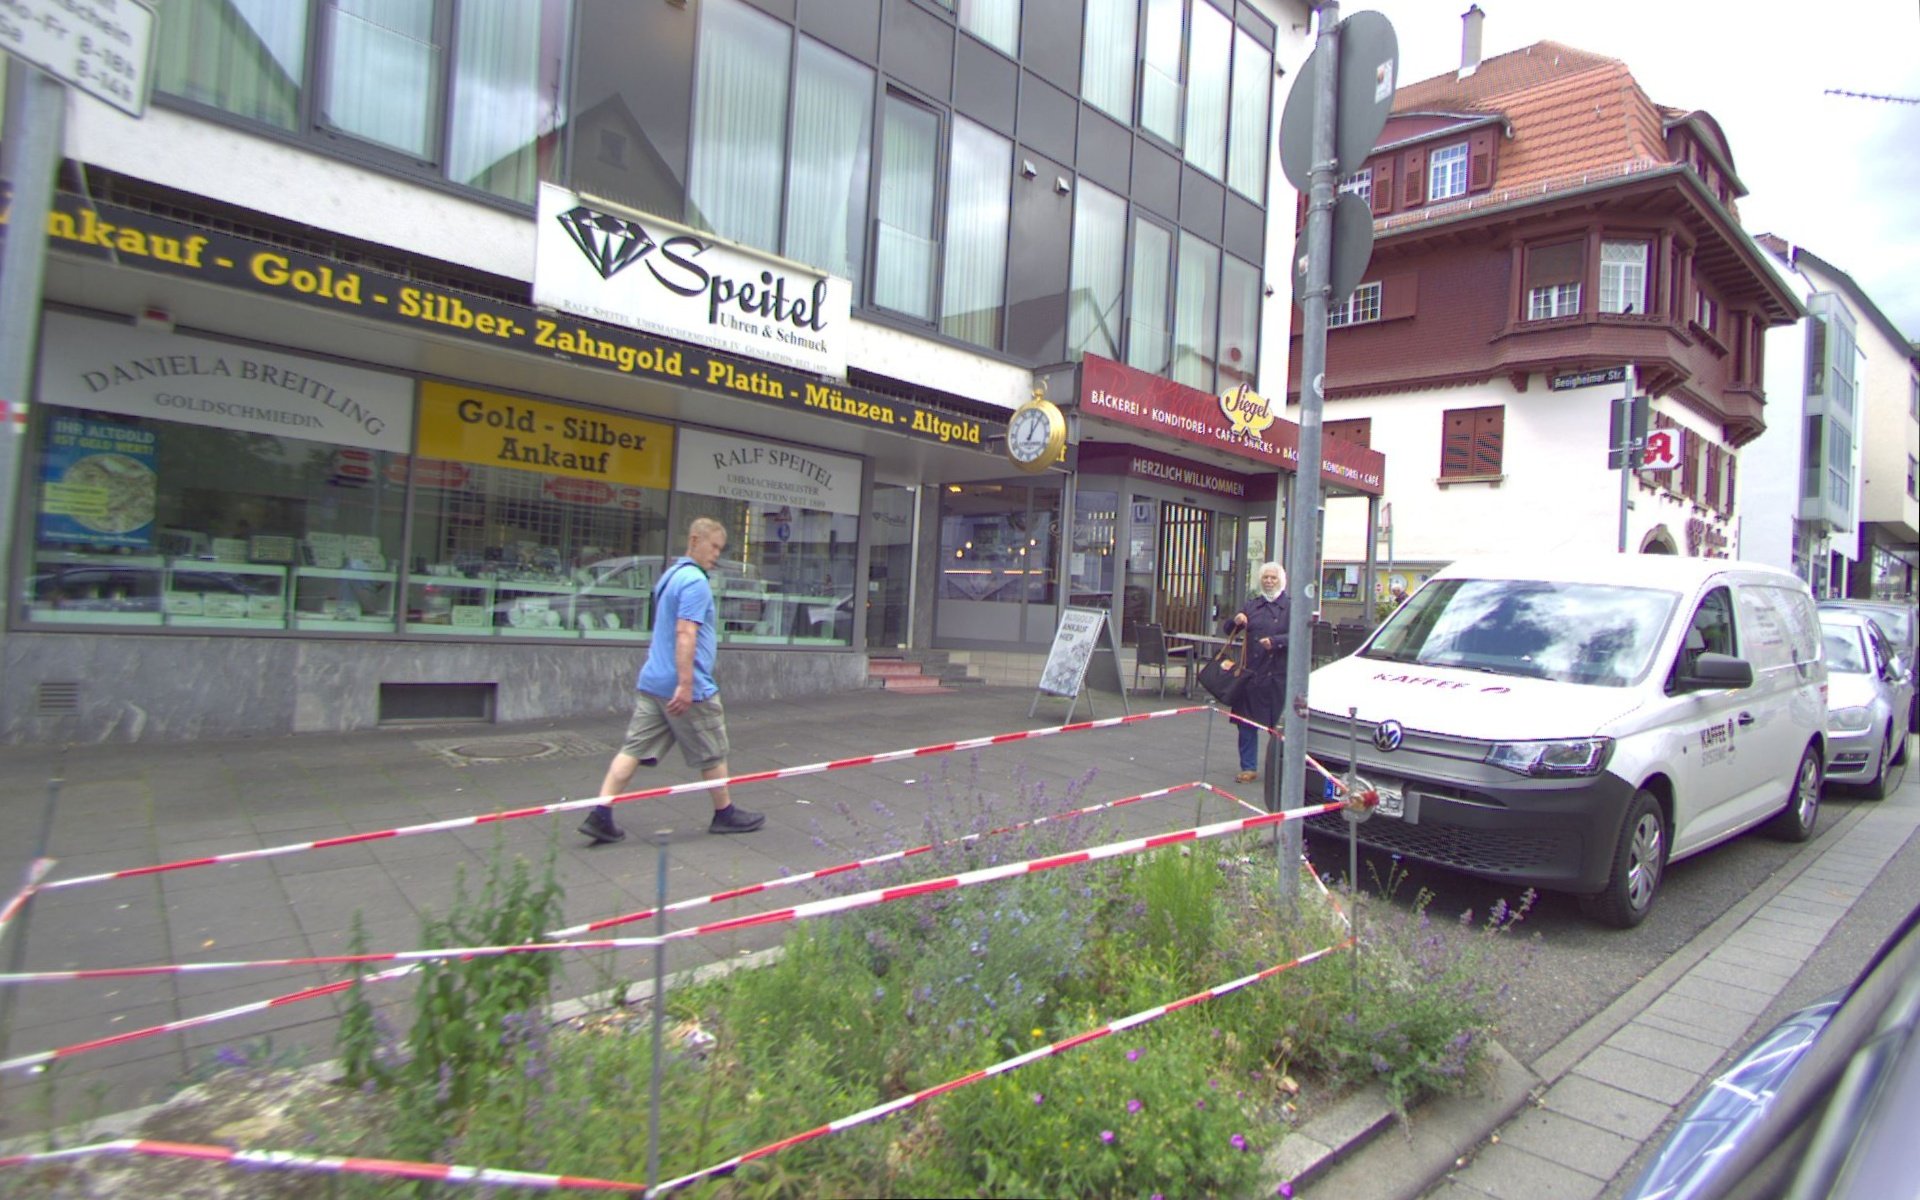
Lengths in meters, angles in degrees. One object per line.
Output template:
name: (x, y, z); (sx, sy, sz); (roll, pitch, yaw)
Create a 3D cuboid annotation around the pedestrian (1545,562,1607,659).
pedestrian: (11.807, 0.187, 19.387); (0.803, 1.791, 0.776); (0, 1, -39)

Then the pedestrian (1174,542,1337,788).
pedestrian: (2.186, 0.435, 7.516); (0.786, 1.686, 0.827); (0, 1, -35)

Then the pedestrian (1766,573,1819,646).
pedestrian: (21.832, 0.233, 26.567); (0.690, 1.880, 0.780); (1, 1, 2)

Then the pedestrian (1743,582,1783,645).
pedestrian: (21.121, 0.349, 26.610); (0.689, 1.633, 0.625); (0, 1, -36)

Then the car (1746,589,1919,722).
car: (12.401, 0.652, 13.904); (3.884, 1.575, 1.806); (0, 1, -41)

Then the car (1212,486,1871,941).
car: (3.795, 0.433, 6.219); (4.645, 1.822, 1.882); (0, 1, -38)

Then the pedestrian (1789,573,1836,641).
pedestrian: (22.798, 0.186, 27.081); (0.612, 1.789, 0.704); (1, 1, -15)

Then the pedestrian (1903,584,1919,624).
pedestrian: (41.523, 0.178, 43.876); (0.767, 1.693, 0.759); (0, 4, -43)

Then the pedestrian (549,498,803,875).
pedestrian: (-1.491, 0.386, 5.325); (1.034, 1.748, 0.798); (0, 2, -41)

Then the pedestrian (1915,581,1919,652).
pedestrian: (24.897, 0.429, 25.626); (0.985, 1.810, 0.905); (2, 1, 45)

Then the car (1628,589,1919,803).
car: (7.639, 0.675, 9.249); (3.933, 1.485, 1.705); (0, 2, -44)

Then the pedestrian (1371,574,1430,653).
pedestrian: (9.082, 0.261, 20.854); (0.792, 1.549, 0.727); (0, 4, -35)
